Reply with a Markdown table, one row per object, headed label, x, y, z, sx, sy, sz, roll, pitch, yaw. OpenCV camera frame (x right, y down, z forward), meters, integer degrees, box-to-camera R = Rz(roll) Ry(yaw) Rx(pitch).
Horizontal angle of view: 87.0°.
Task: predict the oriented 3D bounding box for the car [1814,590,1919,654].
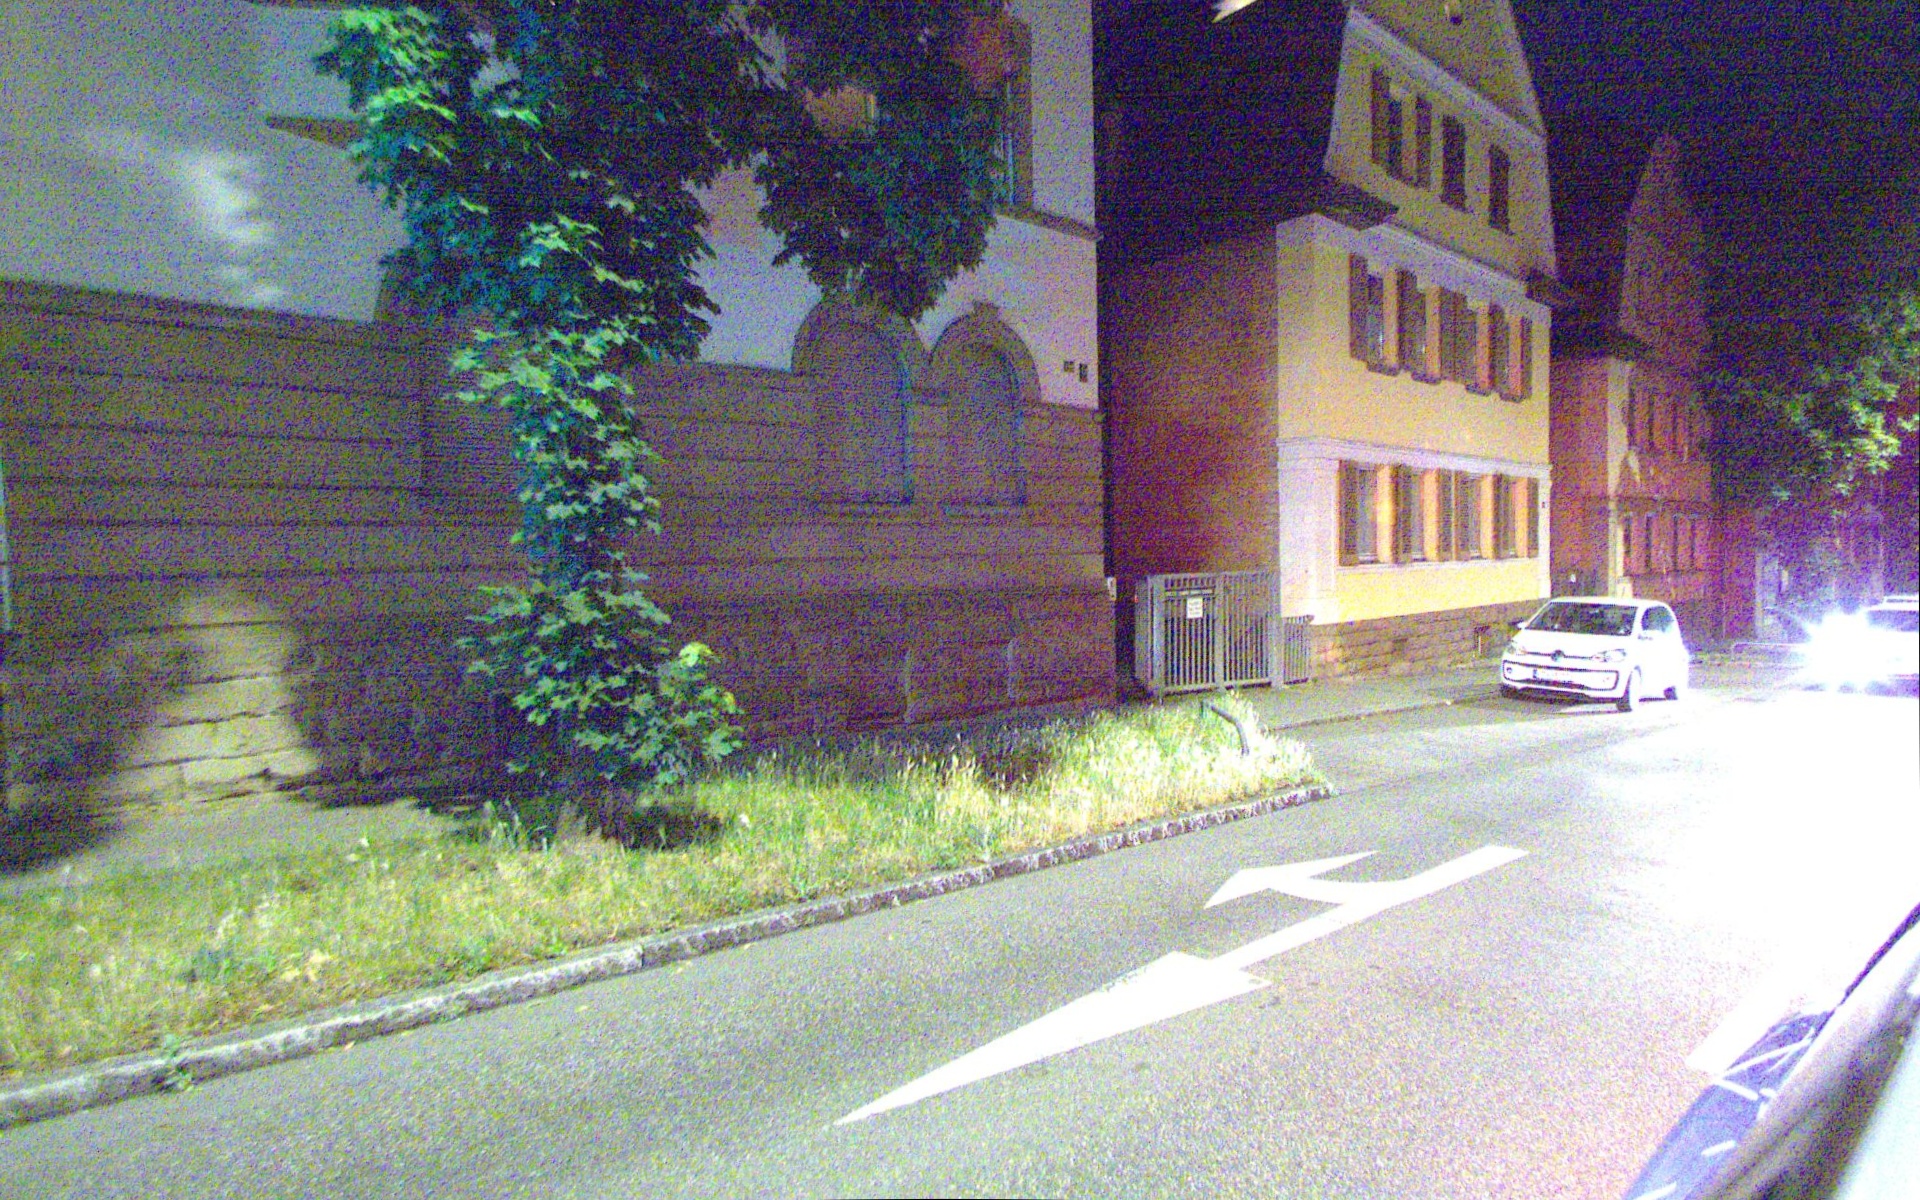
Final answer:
| label | x | y | z | sx | sy | sz | roll | pitch | yaw |
| --- | --- | --- | --- | --- | --- | --- | --- | --- | --- |
| car | 23.626 | 0.511 | 26.286 | 3.824 | 1.516 | 1.740 | 0 | 2 | -43 |

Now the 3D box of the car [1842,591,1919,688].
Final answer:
| label | x | y | z | sx | sy | sz | roll | pitch | yaw |
| --- | --- | --- | --- | --- | --- | --- | --- | --- | --- |
| car | 16.405 | 0.603 | 17.183 | 3.933 | 1.505 | 1.778 | -1 | 0 | -43 |

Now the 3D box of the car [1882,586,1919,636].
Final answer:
| label | x | y | z | sx | sy | sz | roll | pitch | yaw |
| --- | --- | --- | --- | --- | --- | --- | --- | --- | --- |
| car | 33.550 | 0.371 | 35.143 | 4.107 | 1.673 | 1.850 | 0 | 0 | -42 |

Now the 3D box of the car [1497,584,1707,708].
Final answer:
| label | x | y | z | sx | sy | sz | roll | pitch | yaw |
| --- | --- | --- | --- | --- | --- | --- | --- | --- | --- |
| car | 9.306 | 0.571 | 14.582 | 3.425 | 1.527 | 1.610 | 0 | 2 | -41 |
